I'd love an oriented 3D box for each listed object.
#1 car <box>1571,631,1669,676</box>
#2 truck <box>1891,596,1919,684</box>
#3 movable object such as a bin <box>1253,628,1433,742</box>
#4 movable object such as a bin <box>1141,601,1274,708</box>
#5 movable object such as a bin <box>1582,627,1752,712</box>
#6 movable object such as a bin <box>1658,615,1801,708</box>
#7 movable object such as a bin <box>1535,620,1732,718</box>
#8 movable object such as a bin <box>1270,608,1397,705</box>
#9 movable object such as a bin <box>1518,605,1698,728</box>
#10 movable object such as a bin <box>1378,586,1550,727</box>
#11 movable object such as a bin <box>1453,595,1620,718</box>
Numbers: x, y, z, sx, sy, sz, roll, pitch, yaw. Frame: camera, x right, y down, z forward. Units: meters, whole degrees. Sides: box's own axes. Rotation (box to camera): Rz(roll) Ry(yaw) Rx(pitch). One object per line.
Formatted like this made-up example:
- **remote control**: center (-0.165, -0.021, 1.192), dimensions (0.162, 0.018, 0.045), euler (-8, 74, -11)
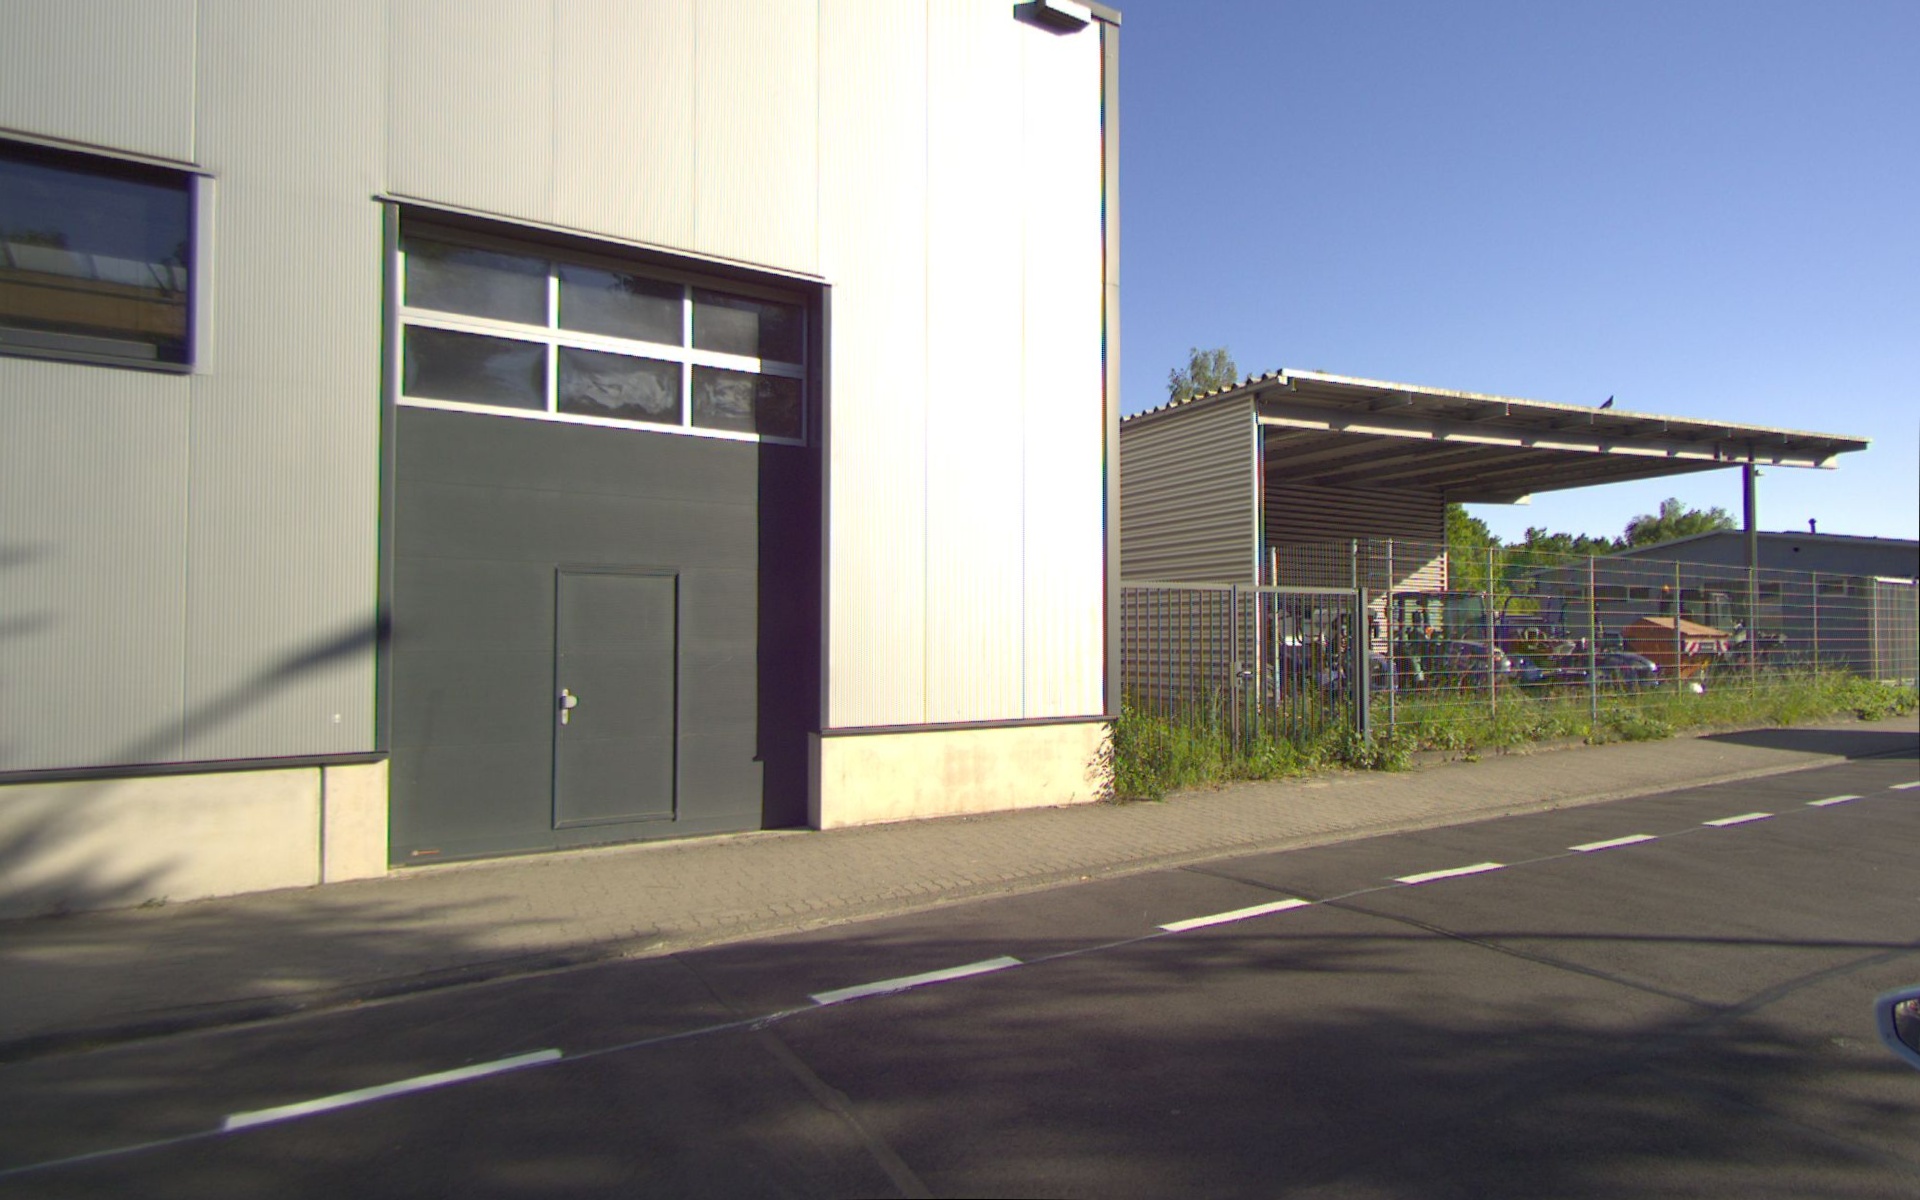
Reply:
- **car**: center (28.350, 2.255, 43.126), dimensions (3.954, 1.839, 1.984), euler (1, -3, -31)
- **truck**: center (33.142, 1.293, 33.061), dimensions (5.698, 2.797, 2.069), euler (1, -3, -31)
- **movable object such as a bin**: center (6.087, 1.303, 16.358), dimensions (1.594, 1.634, 3.406), euler (-1, -2, 0)
- **movable object such as a bin**: center (5.193, 1.109, 21.094), dimensions (2.286, 2.120, 1.568), euler (0, -2, -32)
- **movable object such as a bin**: center (15.388, 1.476, 21.954), dimensions (1.508, 1.702, 2.624), euler (0, -2, -31)
- **movable object such as a bin**: center (17.536, 1.351, 22.884), dimensions (3.064, 1.960, 1.648), euler (0, -2, -33)
- **movable object such as a bin**: center (13.920, 1.381, 20.888), dimensions (1.508, 1.859, 3.024), euler (0, -2, -31)
- **movable object such as a bin**: center (8.655, 1.273, 23.254), dimensions (2.451, 2.120, 1.568), euler (0, -2, -32)
- **movable object such as a bin**: center (12.432, 1.244, 19.461), dimensions (1.470, 2.177, 2.889), euler (-1, -2, -3)
- **movable object such as a bin**: center (8.498, 0.934, 17.178), dimensions (1.493, 2.193, 2.773), euler (-1, -2, 0)
- **movable object such as a bin**: center (10.857, 1.045, 19.117), dimensions (1.358, 2.154, 2.799), euler (-1, -2, -5)
